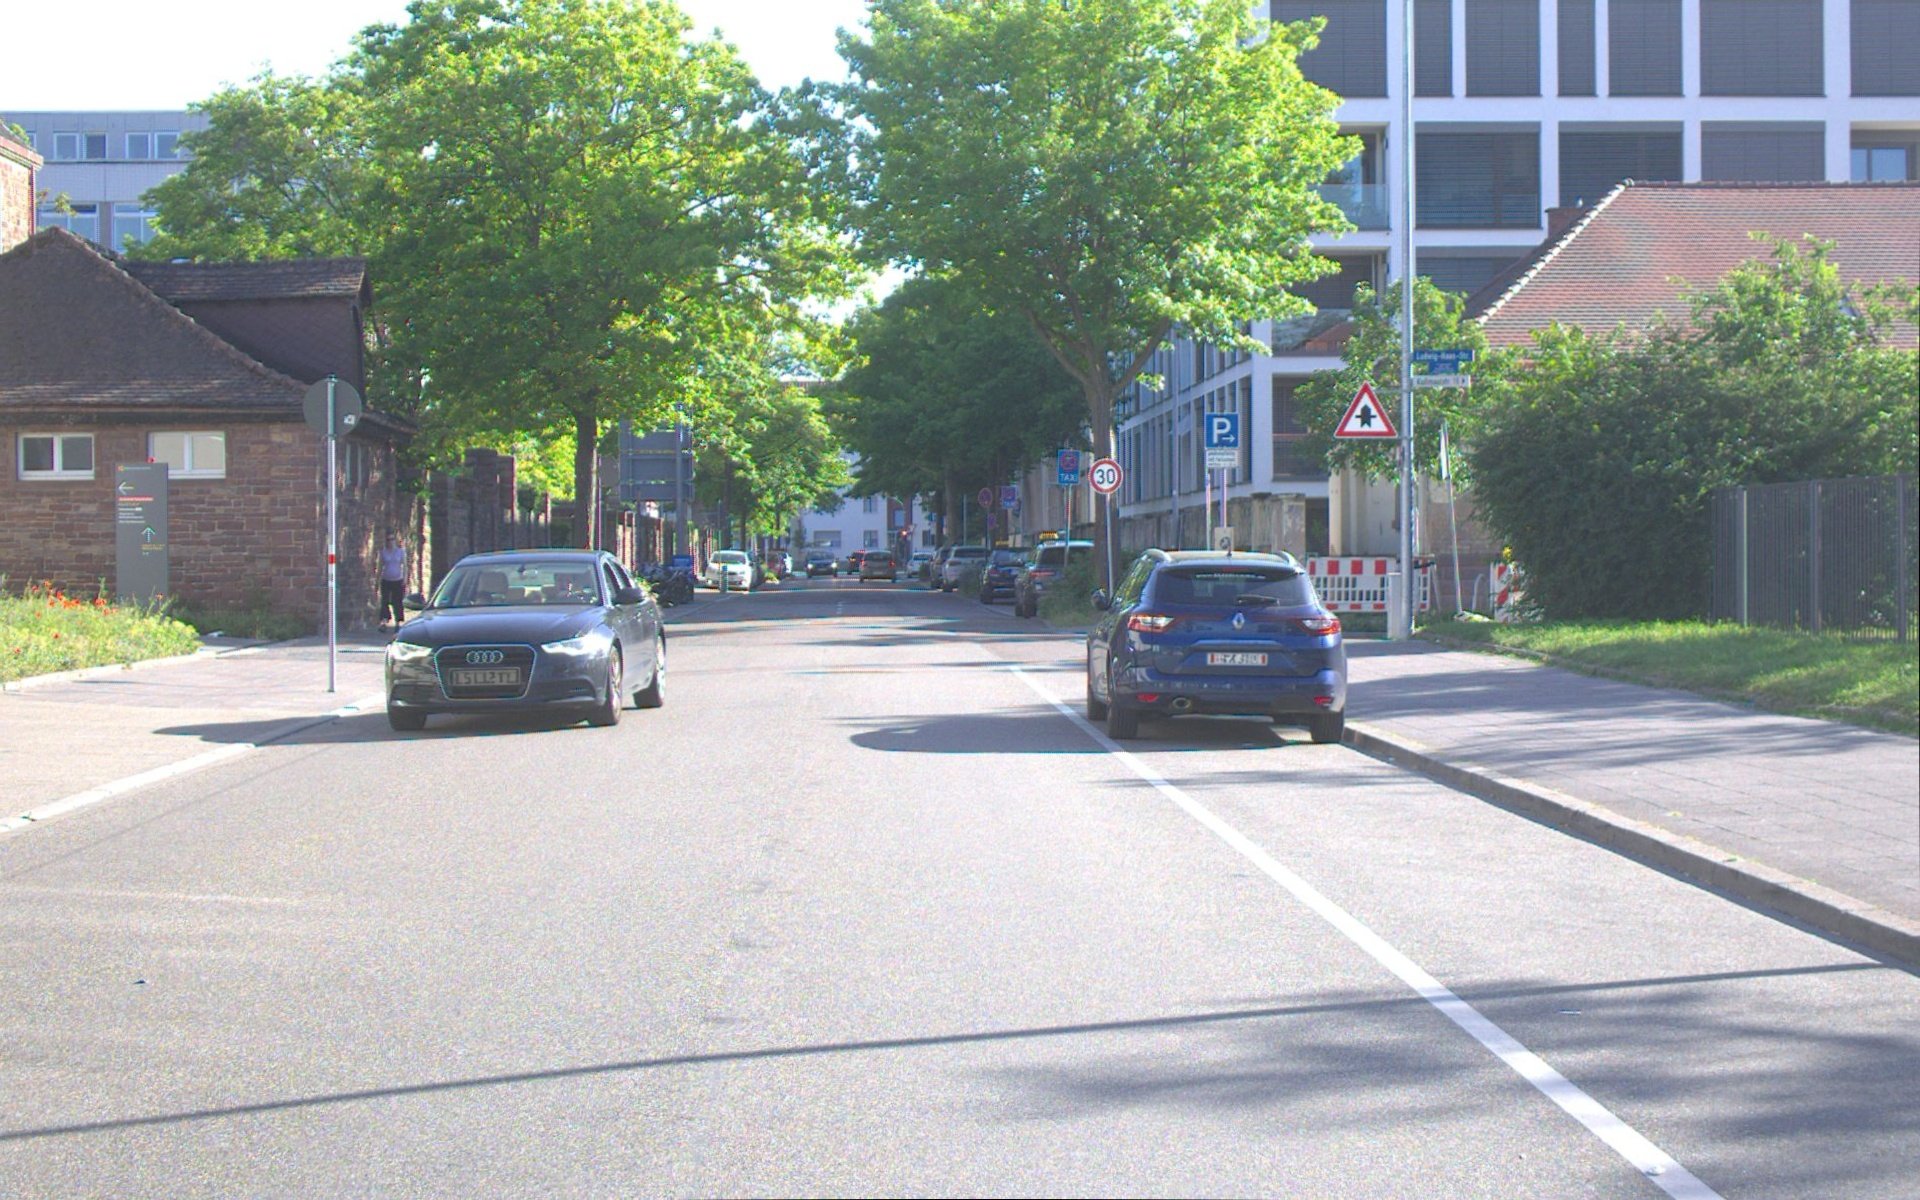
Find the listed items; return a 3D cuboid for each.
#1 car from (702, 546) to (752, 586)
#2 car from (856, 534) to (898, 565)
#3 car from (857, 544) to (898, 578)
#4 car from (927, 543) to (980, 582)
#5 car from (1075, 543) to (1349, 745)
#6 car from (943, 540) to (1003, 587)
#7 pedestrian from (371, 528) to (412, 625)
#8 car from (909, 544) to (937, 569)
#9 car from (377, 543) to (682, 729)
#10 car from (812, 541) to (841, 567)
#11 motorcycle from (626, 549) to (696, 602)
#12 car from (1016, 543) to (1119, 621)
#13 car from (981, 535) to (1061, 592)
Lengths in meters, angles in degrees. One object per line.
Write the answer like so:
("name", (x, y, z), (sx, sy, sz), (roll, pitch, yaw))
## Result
("car", (-8.658, -1.277, 127.976), (1.767, 1.482, 4.001), (0, 1, -3))
("car", (-3.793, -2.311, 157.253), (1.889, 1.395, 3.837), (0, 1, -1))
("car", (-3.778, -1.790, 157.234), (1.767, 1.543, 4.066), (0, 1, -3))
("car", (-0.257, -1.467, 133.142), (1.993, 1.460, 3.837), (0, 1, -1))
("car", (1.928, 0.289, 27.413), (1.817, 1.448, 4.214), (-1, 1, -1))
("car", (0.428, -1.245, 117.381), (1.950, 1.573, 3.837), (0, 1, -1))
("pedestrian", (-9.187, -0.387, 55.576), (0.521, 1.557, 1.096), (0, 1, -2))
("car", (-2.152, -2.528, 198.388), (1.585, 1.395, 3.837), (0, 1, -1))
("car", (-3.586, 0.249, 29.402), (1.762, 1.437, 4.537), (-1, 1, 4))
("car", (-7.887, -2.717, 203.323), (1.653, 1.525, 4.000), (0, 1, -2))
("motorcycle", (-7.360, -0.604, 84.697), (0.577, 1.271, 2.118), (0, 1, 32))
("car", (2.065, -0.381, 67.175), (1.703, 1.463, 4.789), (0, 1, -2))
("car", (1.544, -0.945, 88.445), (1.767, 1.435, 4.001), (0, 1, -3))
